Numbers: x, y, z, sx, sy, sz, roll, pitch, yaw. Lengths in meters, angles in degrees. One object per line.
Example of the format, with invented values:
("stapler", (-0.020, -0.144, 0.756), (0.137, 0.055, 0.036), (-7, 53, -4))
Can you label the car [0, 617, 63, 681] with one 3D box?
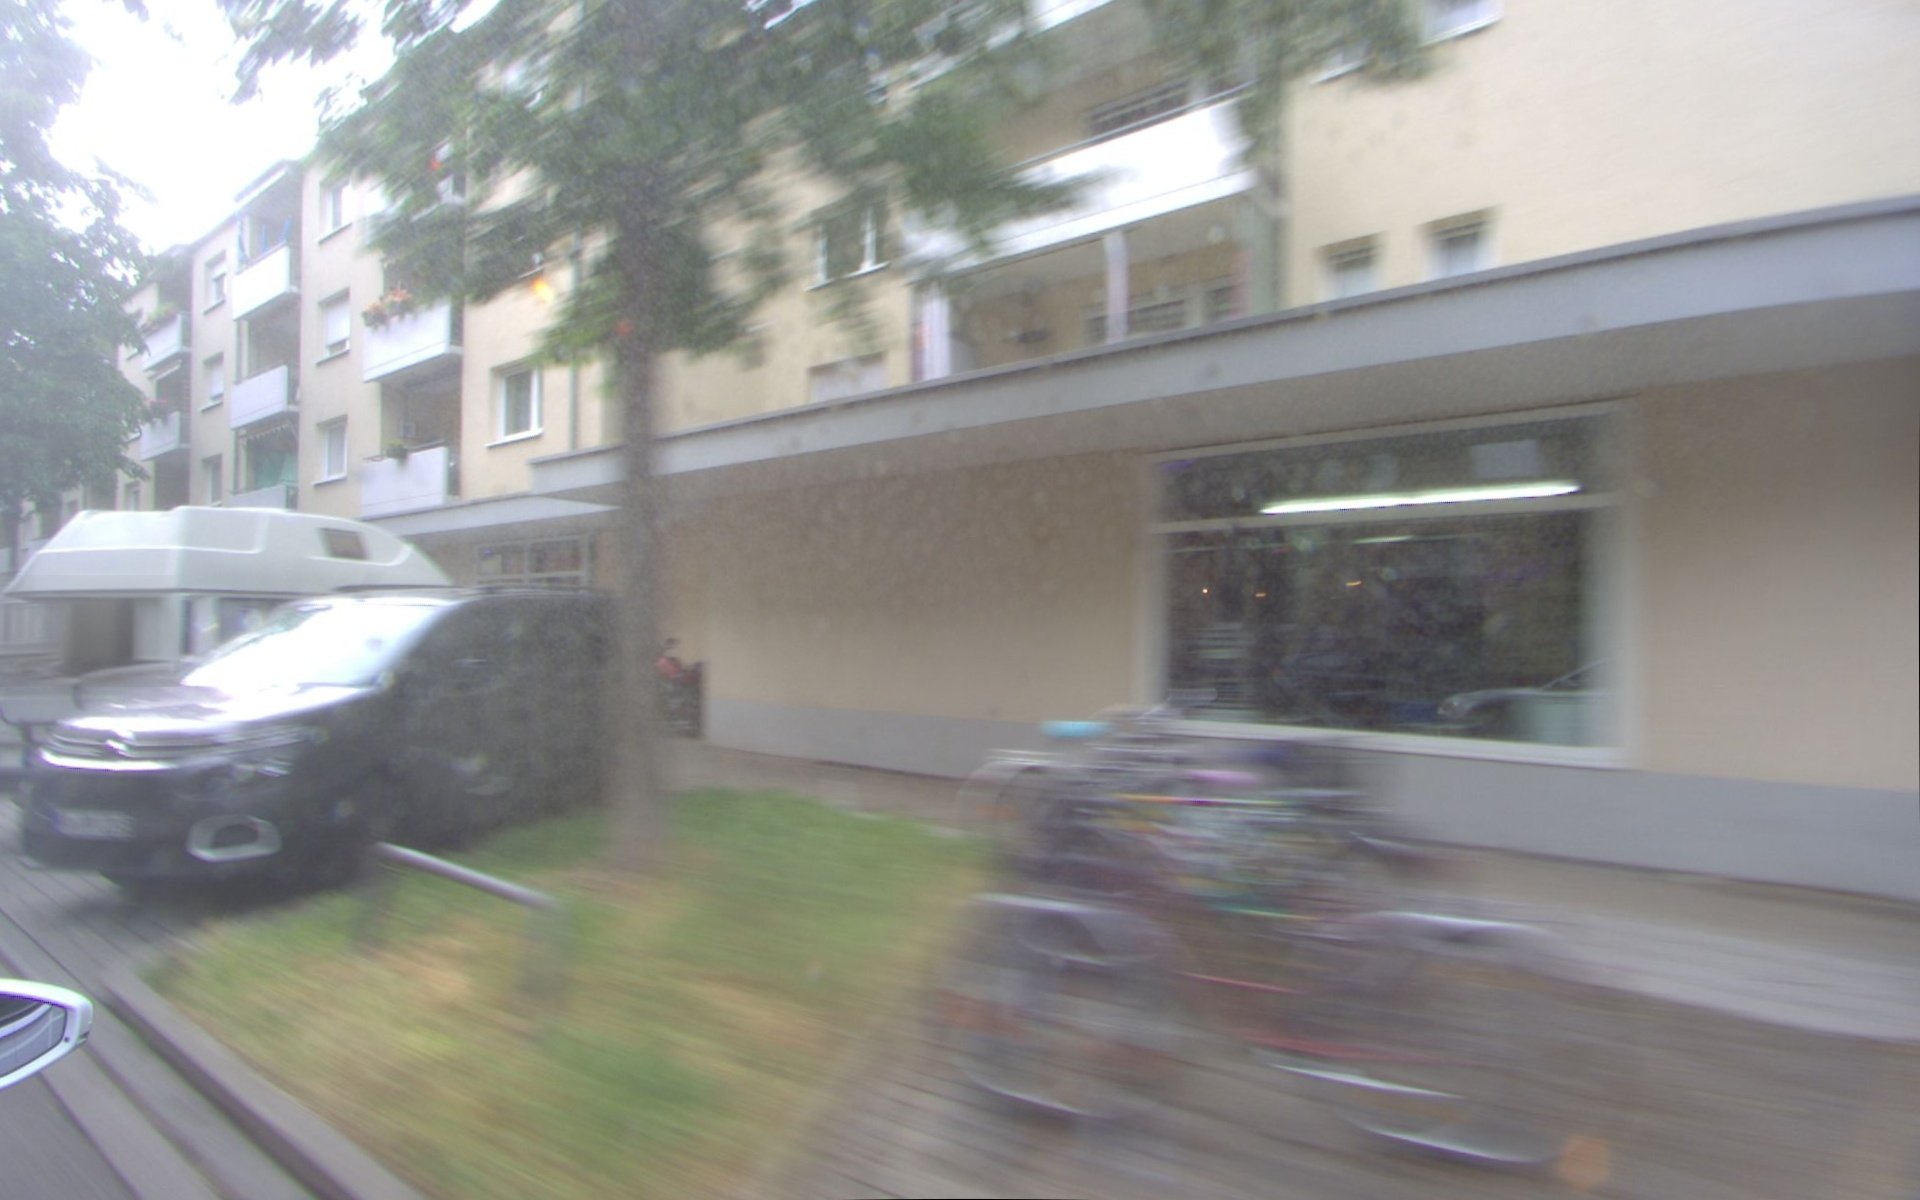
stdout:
("car", (-24.150, 1.193, 23.570), (1.938, 1.520, 4.225), (0, 0, 11))

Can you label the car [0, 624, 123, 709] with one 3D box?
("car", (-17.504, 1.153, 17.832), (1.817, 1.461, 4.115), (1, -1, -2))

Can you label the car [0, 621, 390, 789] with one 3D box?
("car", (-8.446, 1.022, 11.197), (1.691, 1.436, 3.816), (-2, 0, 5))

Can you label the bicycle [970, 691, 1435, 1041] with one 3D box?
("bicycle", (0.931, 0.983, 4.044), (1.697, 1.188, 0.549), (-1, -1, 17))

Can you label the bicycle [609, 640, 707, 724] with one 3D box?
("bicycle", (-4.253, 1.126, 14.056), (1.681, 1.104, 0.482), (-1, -2, 41))

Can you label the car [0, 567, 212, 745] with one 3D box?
("car", (-13.126, 0.737, 14.130), (2.027, 2.224, 4.400), (1, -2, -4))

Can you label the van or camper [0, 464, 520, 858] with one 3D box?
("van or camper", (-6.143, 0.473, 9.065), (1.874, 2.629, 4.598), (1, -2, 6))

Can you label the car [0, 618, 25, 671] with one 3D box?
("car", (-28.612, 1.251, 27.403), (1.911, 1.503, 4.050), (0, -1, 12))

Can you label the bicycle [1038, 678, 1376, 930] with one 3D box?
("bicycle", (1.296, 1.033, 5.380), (1.667, 1.188, 0.549), (-1, -1, 17))

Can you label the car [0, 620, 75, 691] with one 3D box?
("car", (-21.532, 1.207, 21.485), (1.818, 1.516, 3.366), (-1, -1, 16))

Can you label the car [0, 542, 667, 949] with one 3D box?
("car", (-4.017, 0.744, 6.971), (1.875, 1.877, 4.344), (1, -2, 13))

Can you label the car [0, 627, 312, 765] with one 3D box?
("car", (-10.511, 1.117, 12.929), (1.656, 1.499, 3.669), (1, -2, 5))

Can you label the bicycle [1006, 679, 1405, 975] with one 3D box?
("bicycle", (1.105, 0.982, 4.668), (1.697, 1.188, 0.549), (-1, -1, 17))
